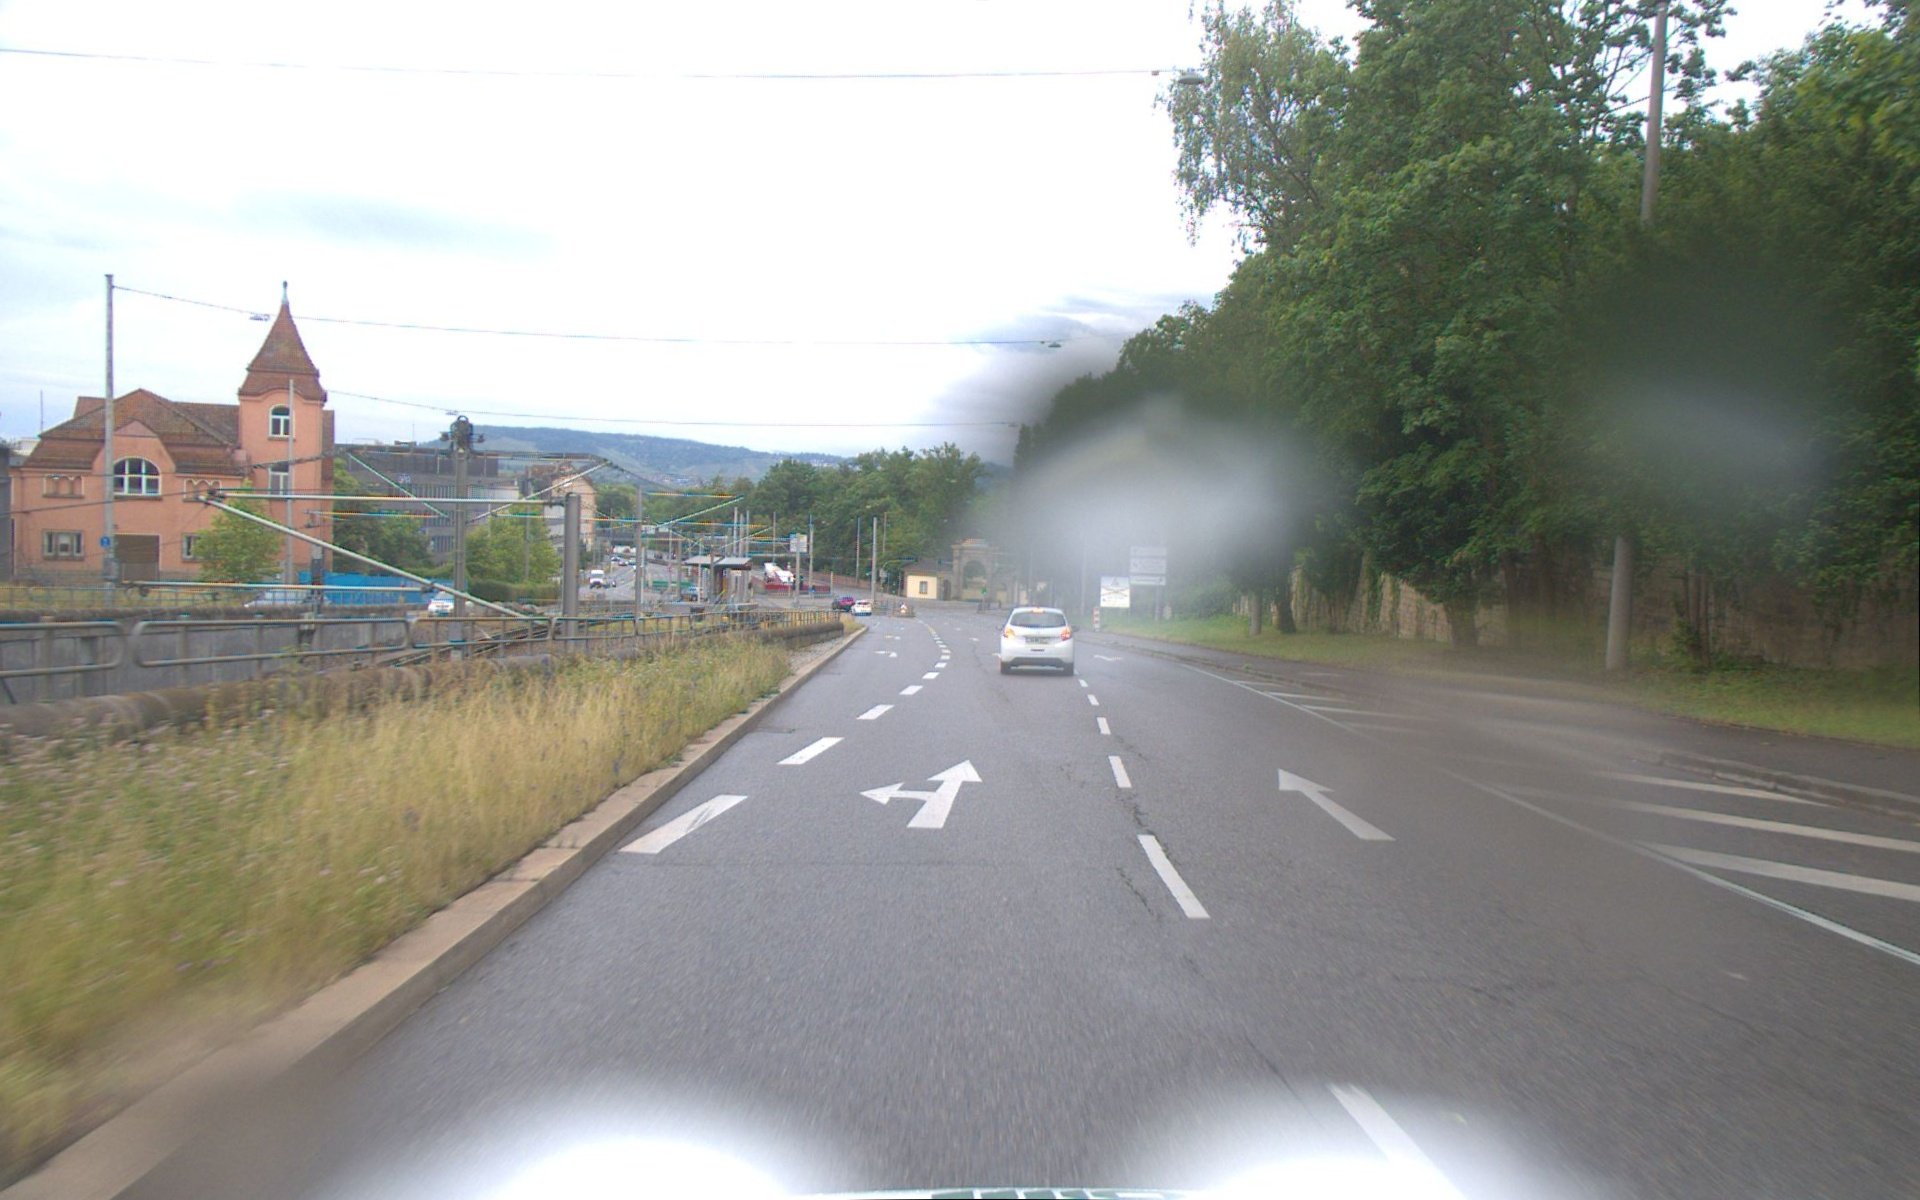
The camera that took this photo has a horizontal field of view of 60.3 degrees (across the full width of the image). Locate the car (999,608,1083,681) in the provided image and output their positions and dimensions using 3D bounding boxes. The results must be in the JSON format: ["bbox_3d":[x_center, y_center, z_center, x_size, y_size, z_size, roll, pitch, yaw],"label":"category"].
[{"bbox_3d":[1.876,0.977,37.911,1.829,1.537,3.901,0,1,4],"label":"car"}]

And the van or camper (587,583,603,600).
[{"bbox_3d":[-51.657,-1.169,234.231,1.957,2.386,3.991,0,-1,-10],"label":"van or camper"}]

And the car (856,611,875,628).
[{"bbox_3d":[-9.555,1.923,167.576,1.785,1.634,4.000,-1,0,-1],"label":"car"}]

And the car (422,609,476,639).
[{"bbox_3d":[-24.932,1.133,80.793,1.524,1.314,3.558,2,1,-1],"label":"car"}]

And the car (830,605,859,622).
[{"bbox_3d":[-12.421,1.468,177.625,1.966,1.735,3.973,1,0,-22],"label":"car"}]
